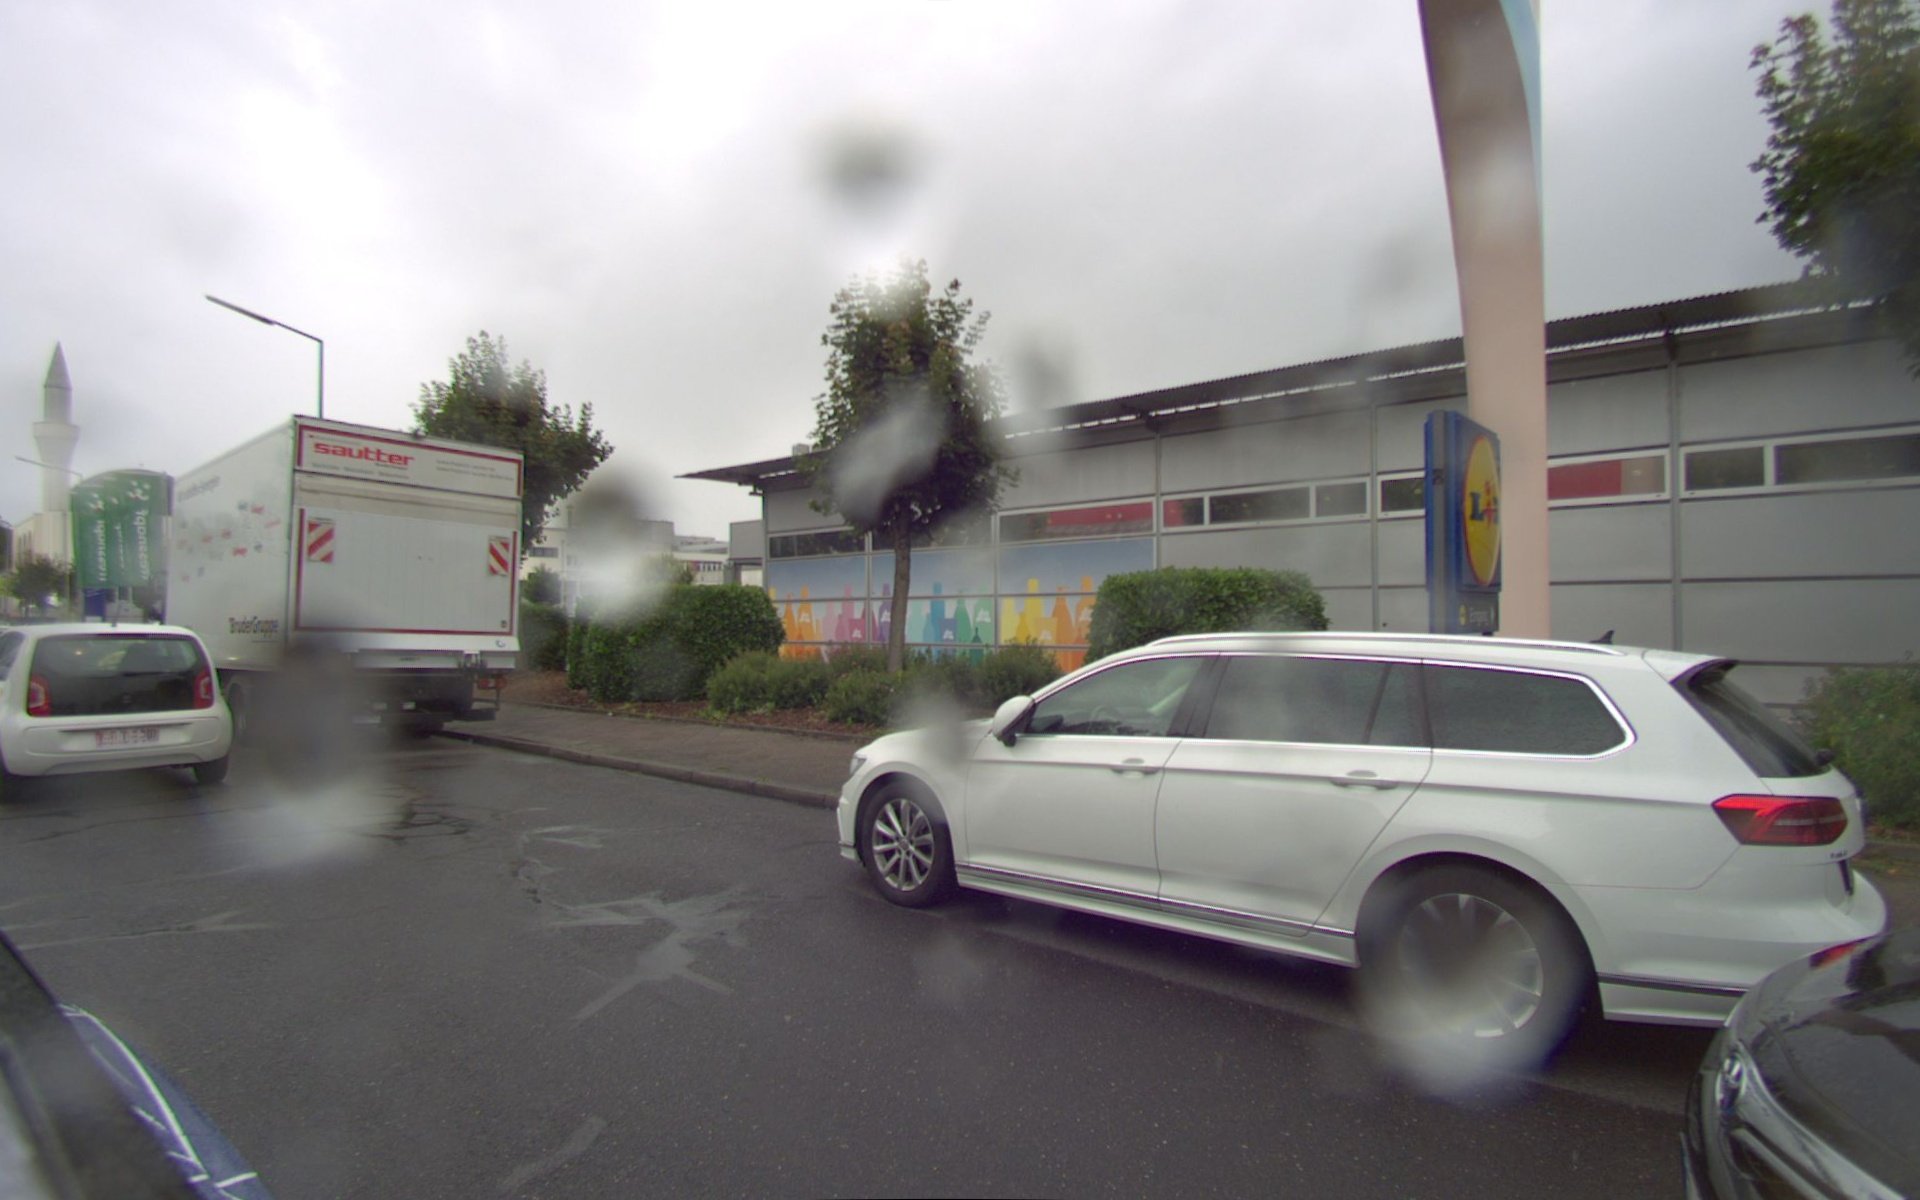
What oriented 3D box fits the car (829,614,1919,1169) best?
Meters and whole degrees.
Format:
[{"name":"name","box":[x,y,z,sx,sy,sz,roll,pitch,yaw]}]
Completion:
[{"name":"car","box":[1.543,0.832,4.773,4.490,1.445,1.816,-1,-3,42]}]

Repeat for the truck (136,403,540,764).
[{"name":"truck","box":[-9.107,-0.085,14.307,7.867,3.775,2.850,-2,-2,43]}]

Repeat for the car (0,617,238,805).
[{"name":"car","box":[-8.280,0.910,9.476,3.404,1.449,1.595,-1,-3,39]}]

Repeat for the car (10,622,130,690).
[{"name":"car","box":[-21.312,1.288,24.198,3.510,1.477,1.670,-1,-2,40]}]

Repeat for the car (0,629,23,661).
[{"name":"car","box":[-42.960,1.991,44.927,3.608,1.351,1.559,-1,-2,40]}]

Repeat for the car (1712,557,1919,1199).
[{"name":"car","box":[3.153,0.641,0.657,3.979,1.452,1.720,-1,-2,27]}]

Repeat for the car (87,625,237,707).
[{"name":"car","box":[-15.783,1.233,19.967,3.510,1.477,1.670,-1,-2,40]}]
